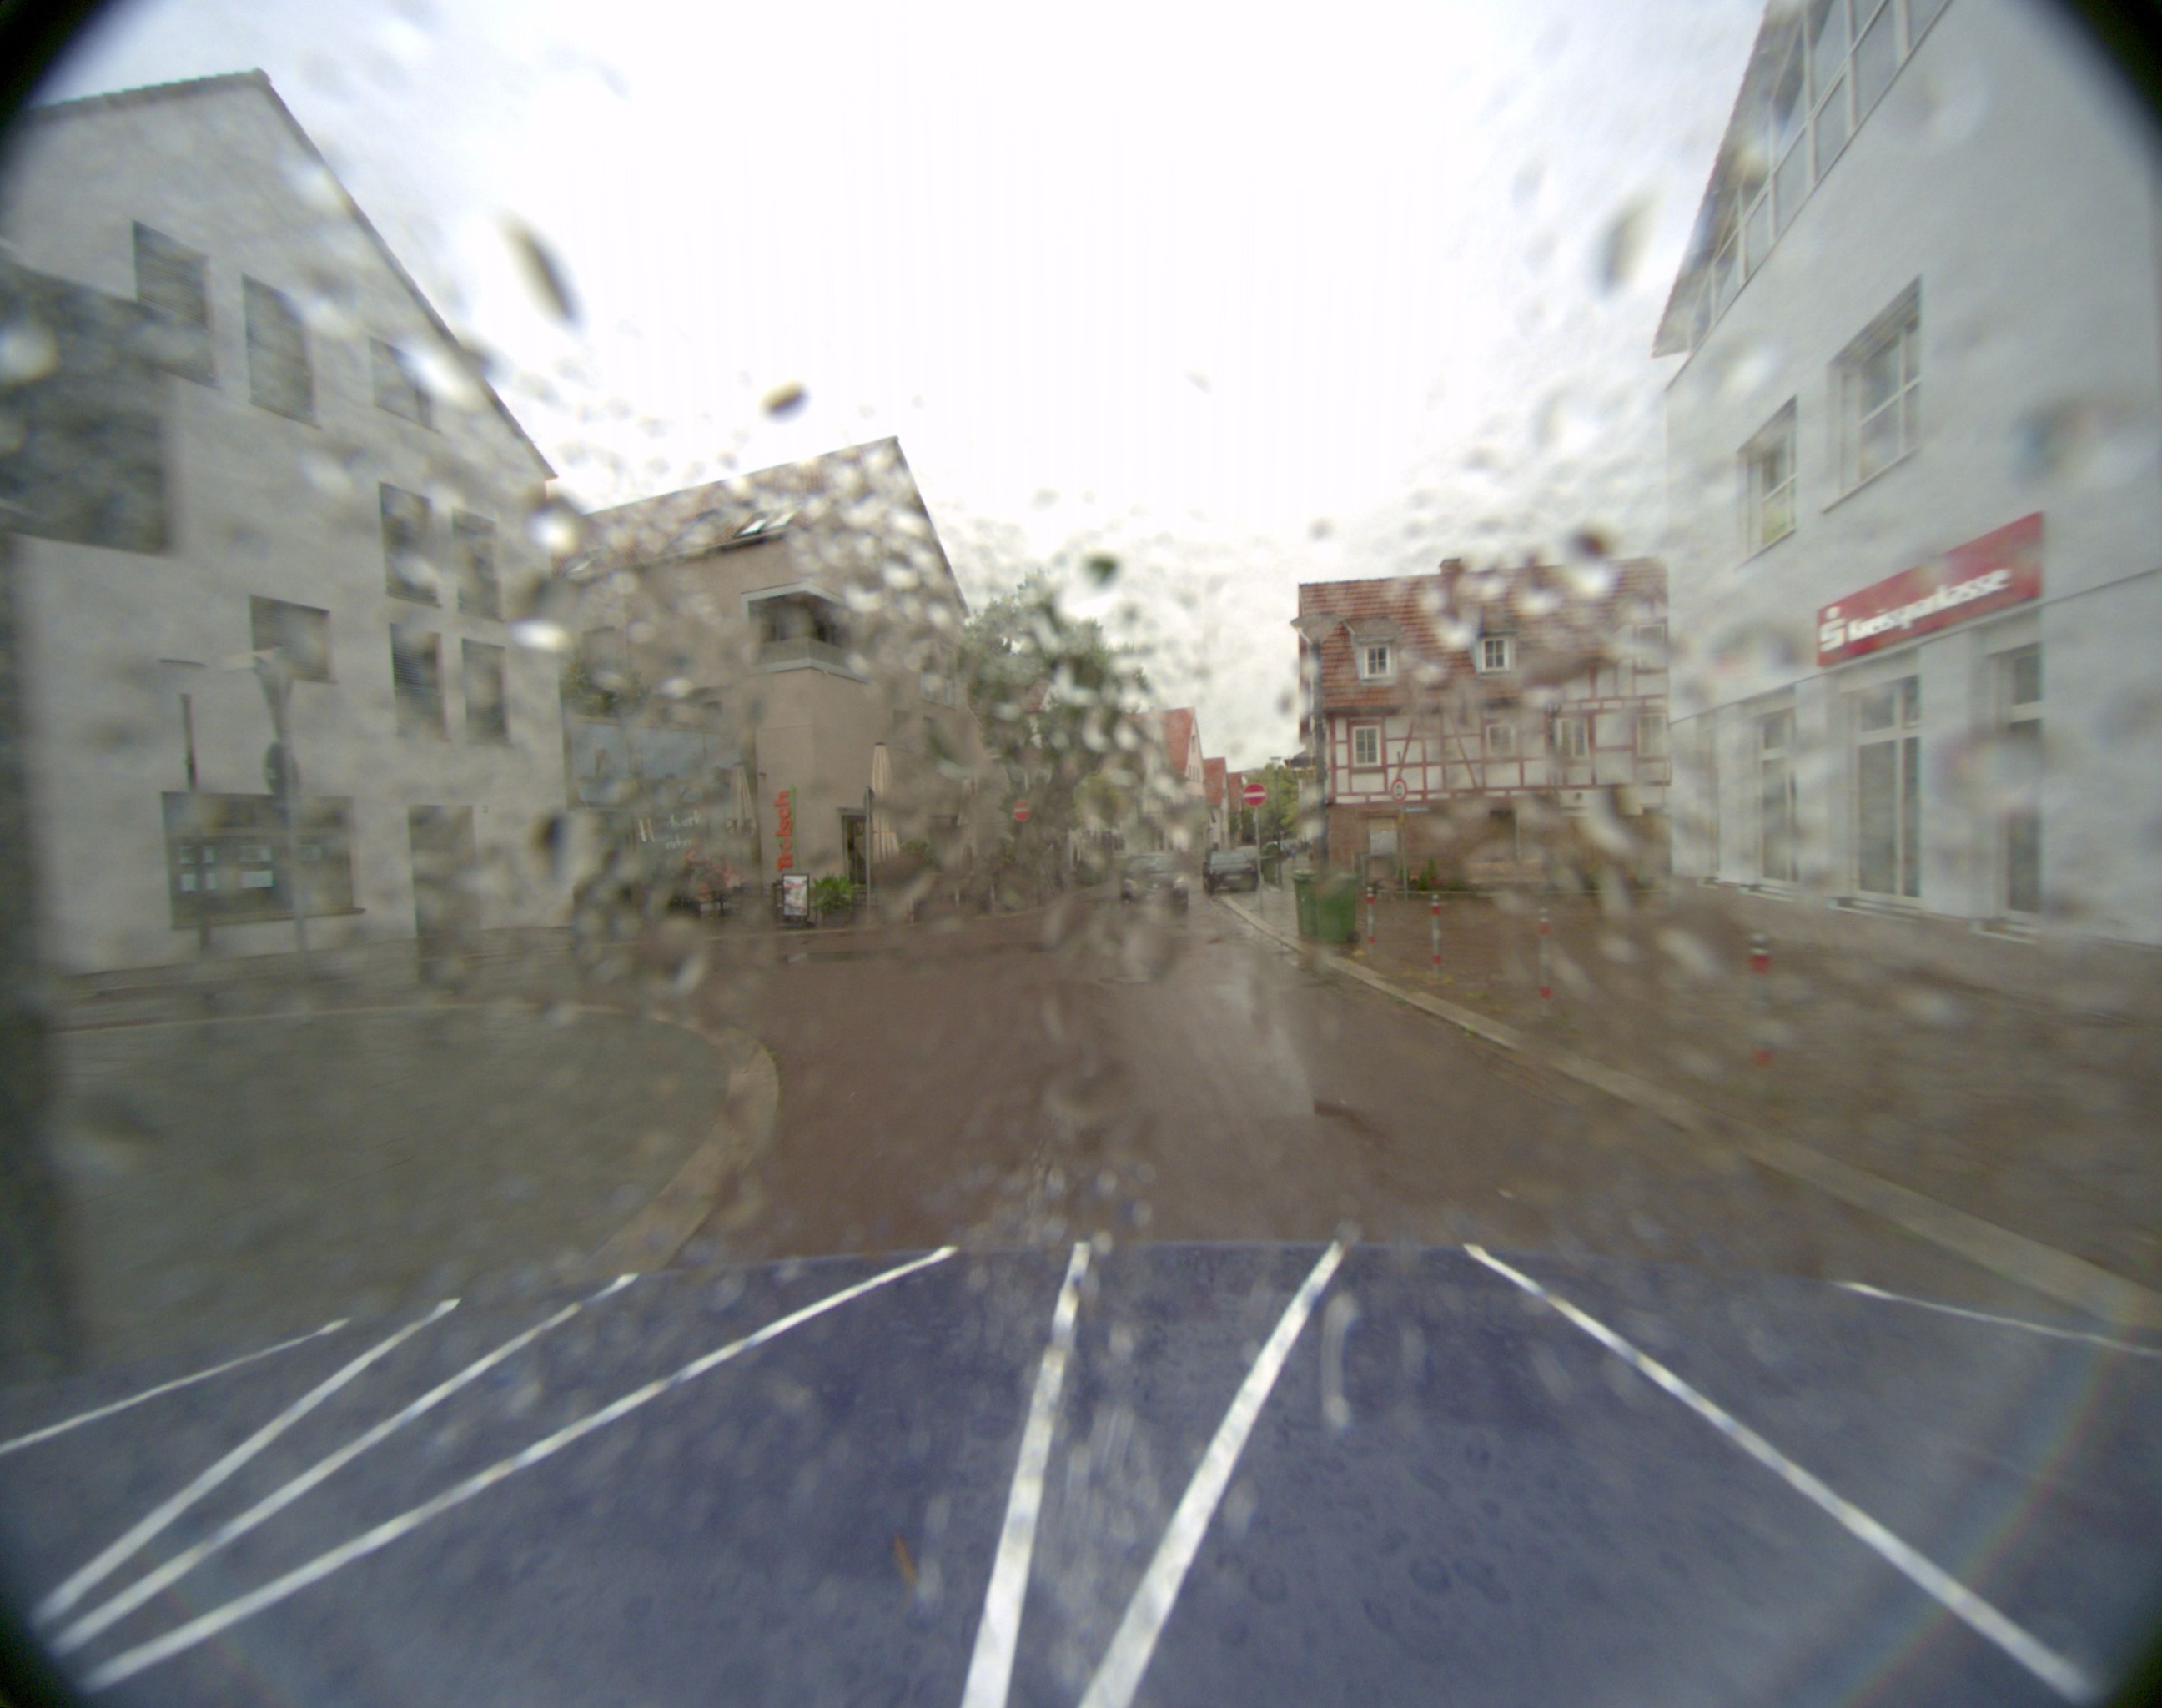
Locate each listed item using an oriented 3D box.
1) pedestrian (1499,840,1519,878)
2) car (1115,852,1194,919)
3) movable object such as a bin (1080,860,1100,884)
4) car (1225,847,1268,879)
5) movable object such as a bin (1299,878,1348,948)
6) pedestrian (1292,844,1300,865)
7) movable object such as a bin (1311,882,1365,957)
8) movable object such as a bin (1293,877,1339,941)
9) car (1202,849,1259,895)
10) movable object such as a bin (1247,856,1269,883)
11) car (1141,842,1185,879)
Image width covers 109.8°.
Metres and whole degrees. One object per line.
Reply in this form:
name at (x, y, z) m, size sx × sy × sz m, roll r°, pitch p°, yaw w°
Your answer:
pedestrian at (13.157, 0.144, 23.368) m, size 0.412 × 1.148 × 0.425 m, roll -2°, pitch 1°, yaw 10°
car at (2.027, 0.760, 20.068) m, size 1.735 × 1.546 × 3.847 m, roll -1°, pitch 0°, yaw 10°
movable object such as a bin at (0.408, 0.822, 34.542) m, size 0.764 × 1.068 × 0.538 m, roll -1°, pitch 1°, yaw 11°
car at (9.254, 0.443, 42.257) m, size 1.996 × 1.520 × 4.004 m, roll -4°, pitch 0°, yaw 16°
movable object such as a bin at (4.041, 0.972, 12.697) m, size 0.660 × 1.108 × 0.553 m, roll -1°, pitch 1°, yaw 7°
pedestrian at (13.341, 0.029, 47.106) m, size 0.454 × 1.300 × 0.518 m, roll 0°, pitch 1°, yaw 17°
movable object such as a bin at (3.991, 1.004, 11.826) m, size 0.660 × 1.090 × 0.613 m, roll -1°, pitch 1°, yaw 5°
movable object such as a bin at (4.116, 0.961, 13.346) m, size 0.660 × 1.076 × 0.553 m, roll -1°, pitch 1°, yaw 7°
car at (5.587, 0.618, 28.786) m, size 1.693 × 1.477 × 4.001 m, roll -4°, pitch 1°, yaw 6°
movable object such as a bin at (7.546, 0.661, 32.378) m, size 0.834 × 1.105 × 0.919 m, roll -1°, pitch 1°, yaw 8°
car at (4.235, 0.271, 38.773) m, size 1.997 × 1.740 × 4.002 m, roll -1°, pitch 1°, yaw 10°
